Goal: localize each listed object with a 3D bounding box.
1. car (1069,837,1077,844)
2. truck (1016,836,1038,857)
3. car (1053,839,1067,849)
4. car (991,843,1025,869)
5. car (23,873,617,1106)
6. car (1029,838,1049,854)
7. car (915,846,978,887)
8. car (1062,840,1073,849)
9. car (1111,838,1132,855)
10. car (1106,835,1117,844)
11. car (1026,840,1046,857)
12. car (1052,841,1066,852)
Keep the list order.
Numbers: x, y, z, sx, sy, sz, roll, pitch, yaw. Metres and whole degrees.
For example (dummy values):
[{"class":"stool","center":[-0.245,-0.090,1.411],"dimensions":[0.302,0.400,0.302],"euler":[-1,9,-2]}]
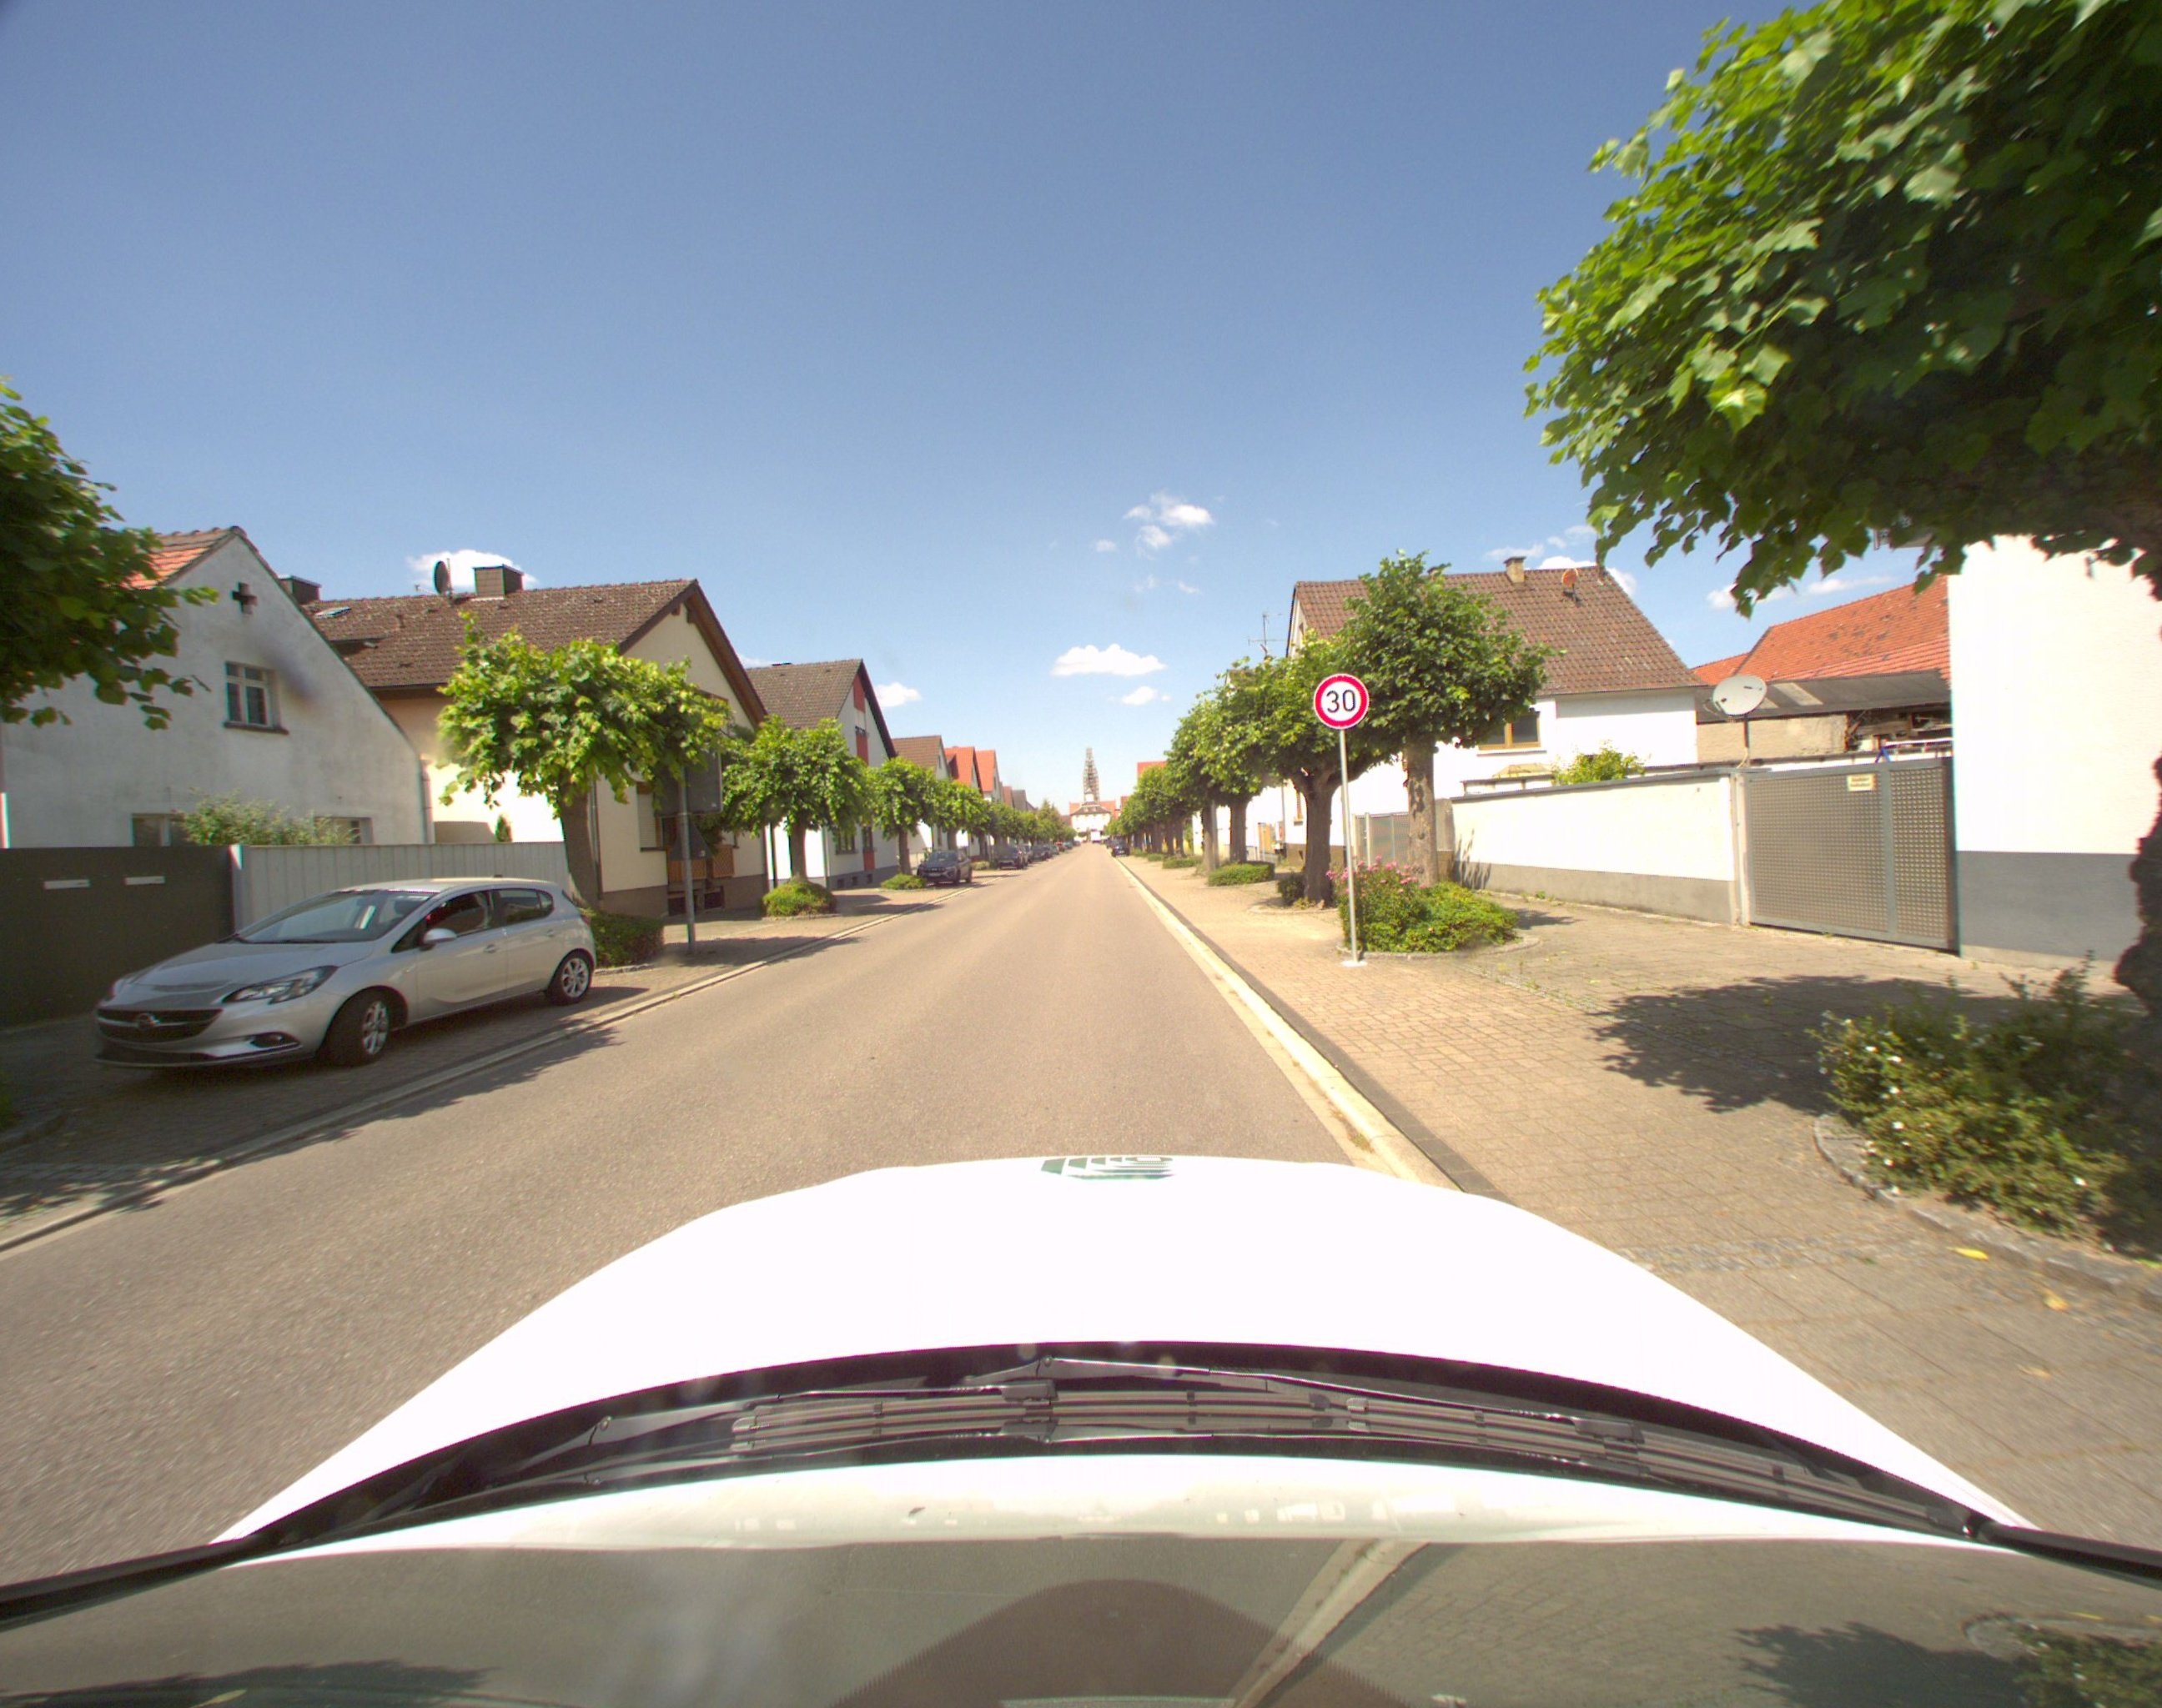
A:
[{"class":"car","center":[-2.099,-3.471,208.154],"dimensions":[1.751,1.555,4.022],"euler":[-3,1,2]},{"class":"truck","center":[-4.825,-0.708,72.859],"dimensions":[1.570,1.765,4.193],"euler":[-1,1,1]},{"class":"car","center":[-3.699,-1.757,143.626],"dimensions":[1.986,1.611,4.692],"euler":[-2,1,2]},{"class":"car","center":[-5.001,0.102,56.242],"dimensions":[1.846,1.636,4.301],"euler":[-1,2,1]},{"class":"car","center":[-6.714,1.037,7.993],"dimensions":[1.818,1.483,4.134],"euler":[-1,1,1]},{"class":"car","center":[-4.601,-0.888,89.226],"dimensions":[1.846,1.635,4.058],"euler":[-2,1,1]},{"class":"car","center":[-5.863,0.506,36.007],"dimensions":[1.845,1.613,4.139],"euler":[-1,1,3]},{"class":"car","center":[-2.781,-1.942,165.334],"dimensions":[1.986,1.611,4.692],"euler":[-1,2,2]},{"class":"car","center":[3.992,-0.792,81.434],"dimensions":[1.818,1.432,4.058],"euler":[-6,1,1]},{"class":"car","center":[5.563,-2.705,151.048],"dimensions":[1.831,1.555,4.314],"euler":[-5,1,1]},{"class":"car","center":[-4.481,-0.556,80.999],"dimensions":[1.782,1.633,3.994],"euler":[-2,1,-4]},{"class":"car","center":[-3.049,-1.033,114.032],"dimensions":[1.834,1.395,4.407],"euler":[-3,1,1]}]
